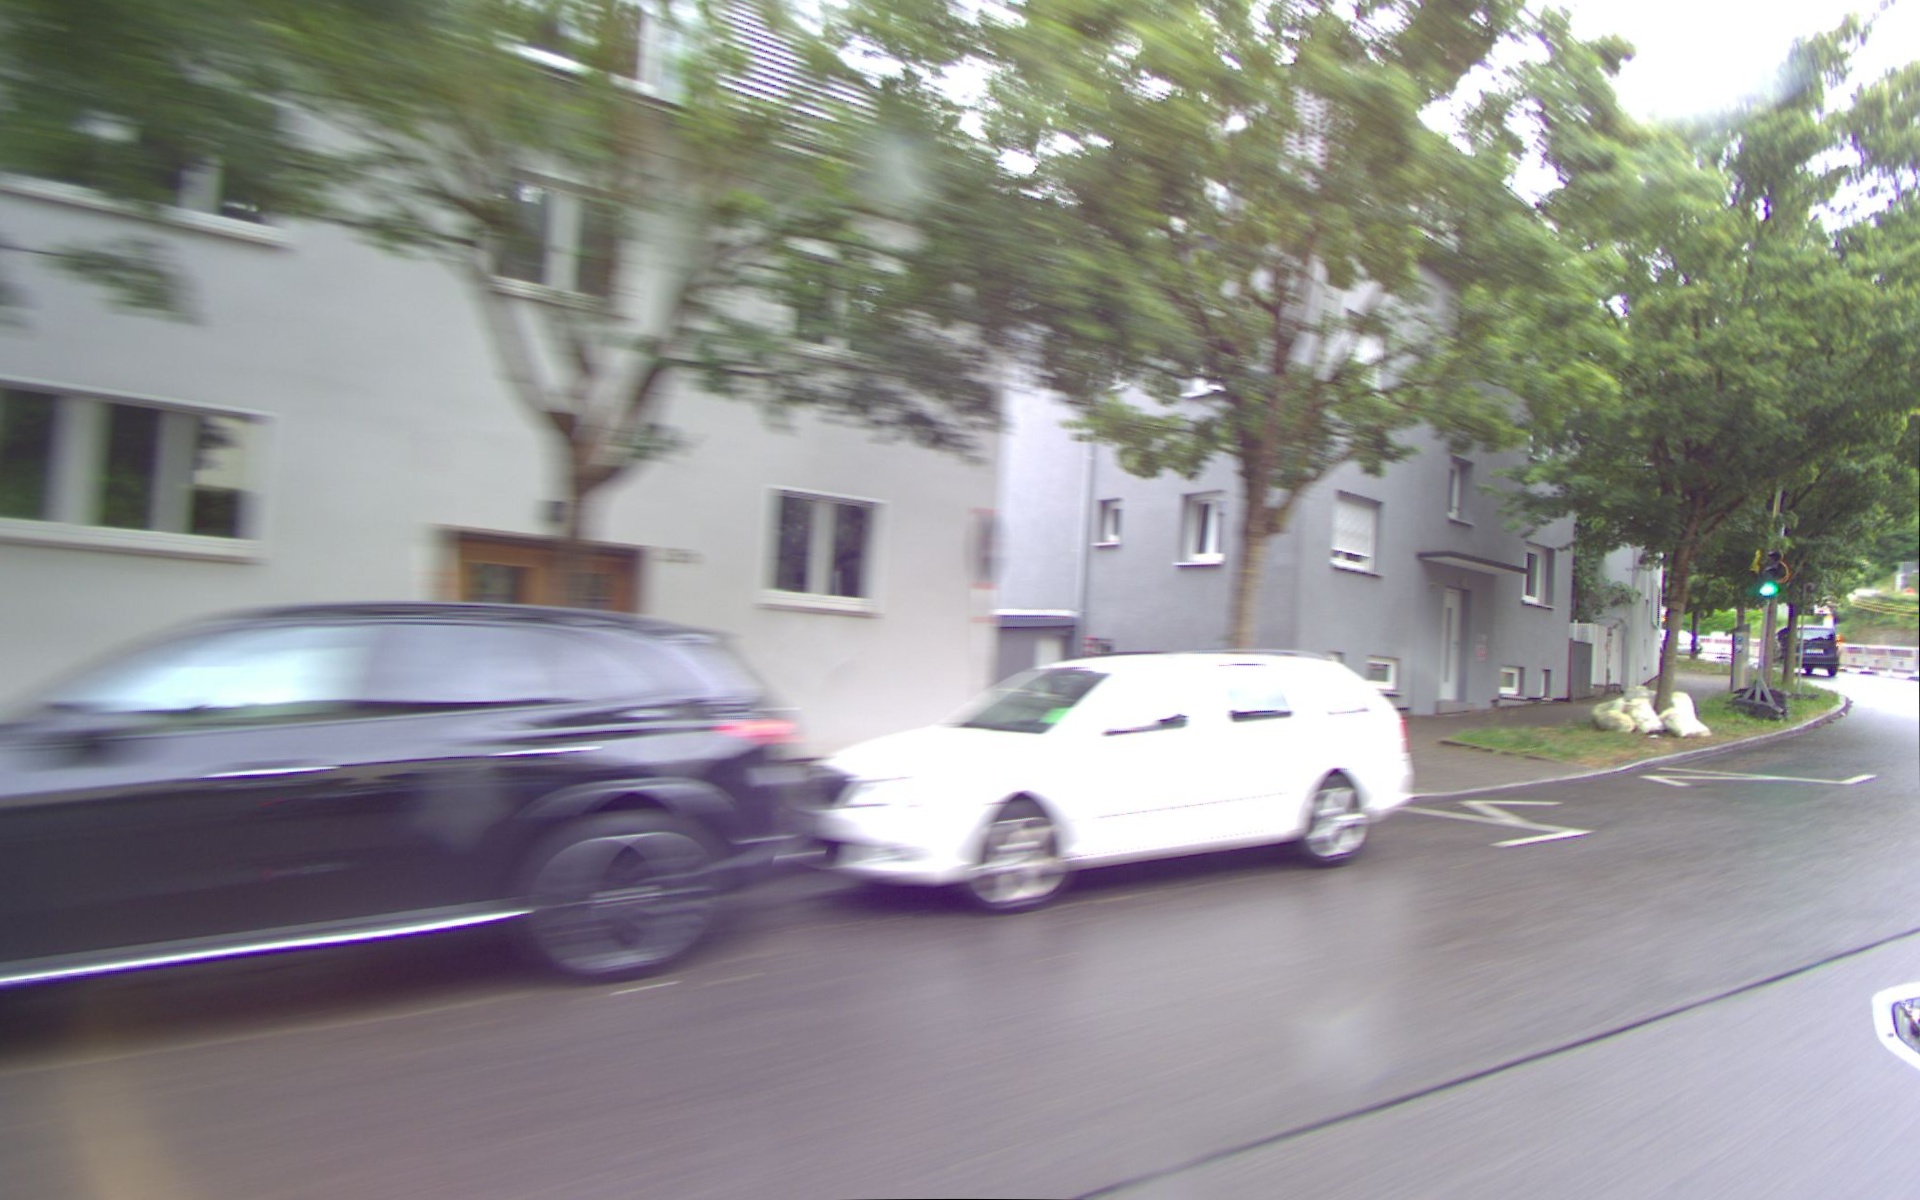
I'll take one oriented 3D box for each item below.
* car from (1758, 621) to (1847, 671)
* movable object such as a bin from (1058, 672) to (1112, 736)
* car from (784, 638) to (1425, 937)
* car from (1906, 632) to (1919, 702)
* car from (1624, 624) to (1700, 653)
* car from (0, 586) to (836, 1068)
[{"bbox_3d":[32.502,1.782,38.882,1.965,1.817,3.992,-1,-3,31],"label":"car"},{"bbox_3d":[1.988,1.646,15.985,0.634,0.963,0.655,1,-1,-18],"label":"movable object such as a bin"},{"bbox_3d":[1.090,1.053,6.954,4.264,1.528,1.675,1,-4,-29],"label":"car"},{"bbox_3d":[22.909,1.556,22.321,1.899,1.639,4.310,0,-1,32],"label":"car"},{"bbox_3d":[36.885,2.051,52.891,1.691,1.505,4.080,0,-3,11],"label":"car"},{"bbox_3d":[-2.969,0.819,4.534,4.520,1.629,1.675,1,-3,-28],"label":"car"}]
